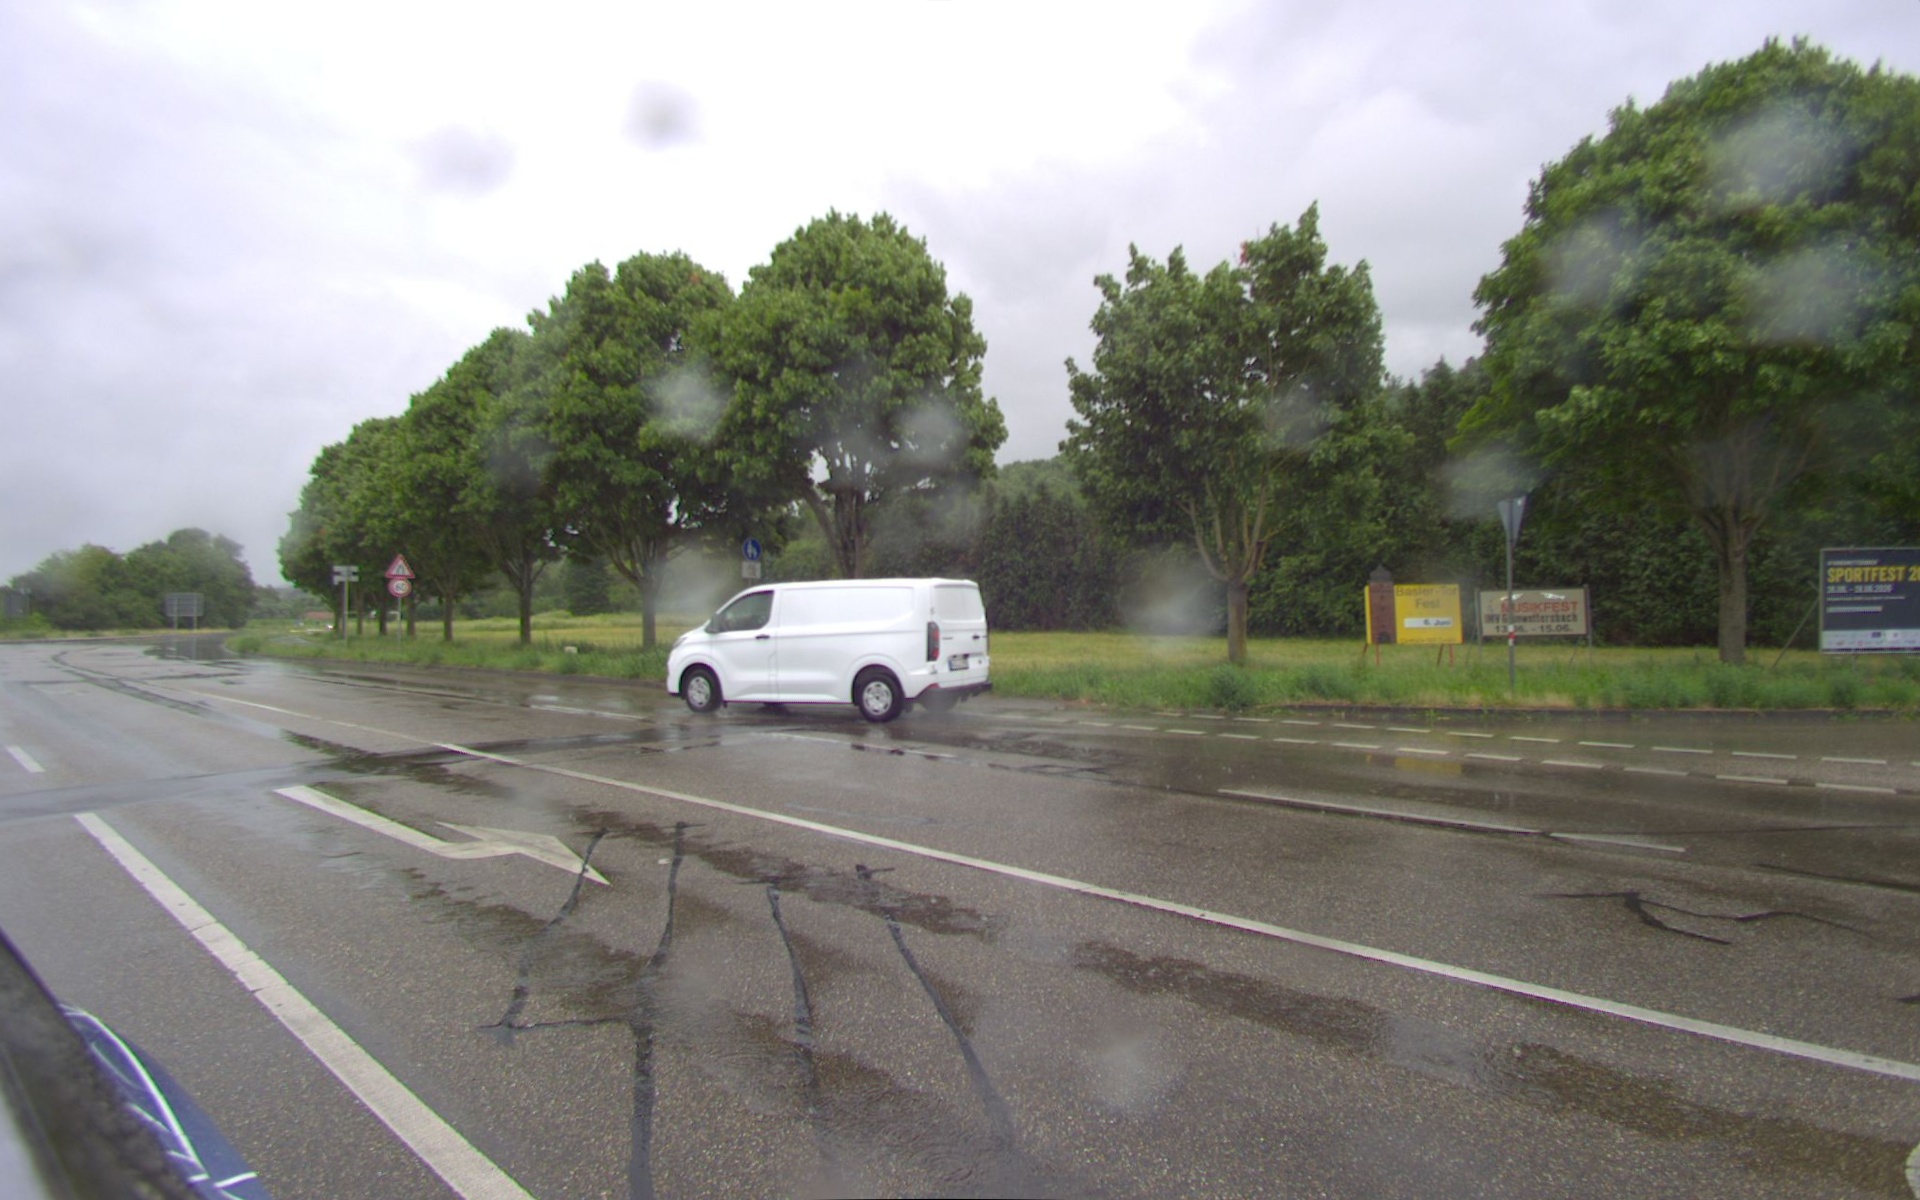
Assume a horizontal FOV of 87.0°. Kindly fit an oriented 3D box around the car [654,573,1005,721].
[{"bbox_3d":[-1.934,0.682,14.965,4.761,1.907,2.096,-2,-1,24],"label":"car"}]
